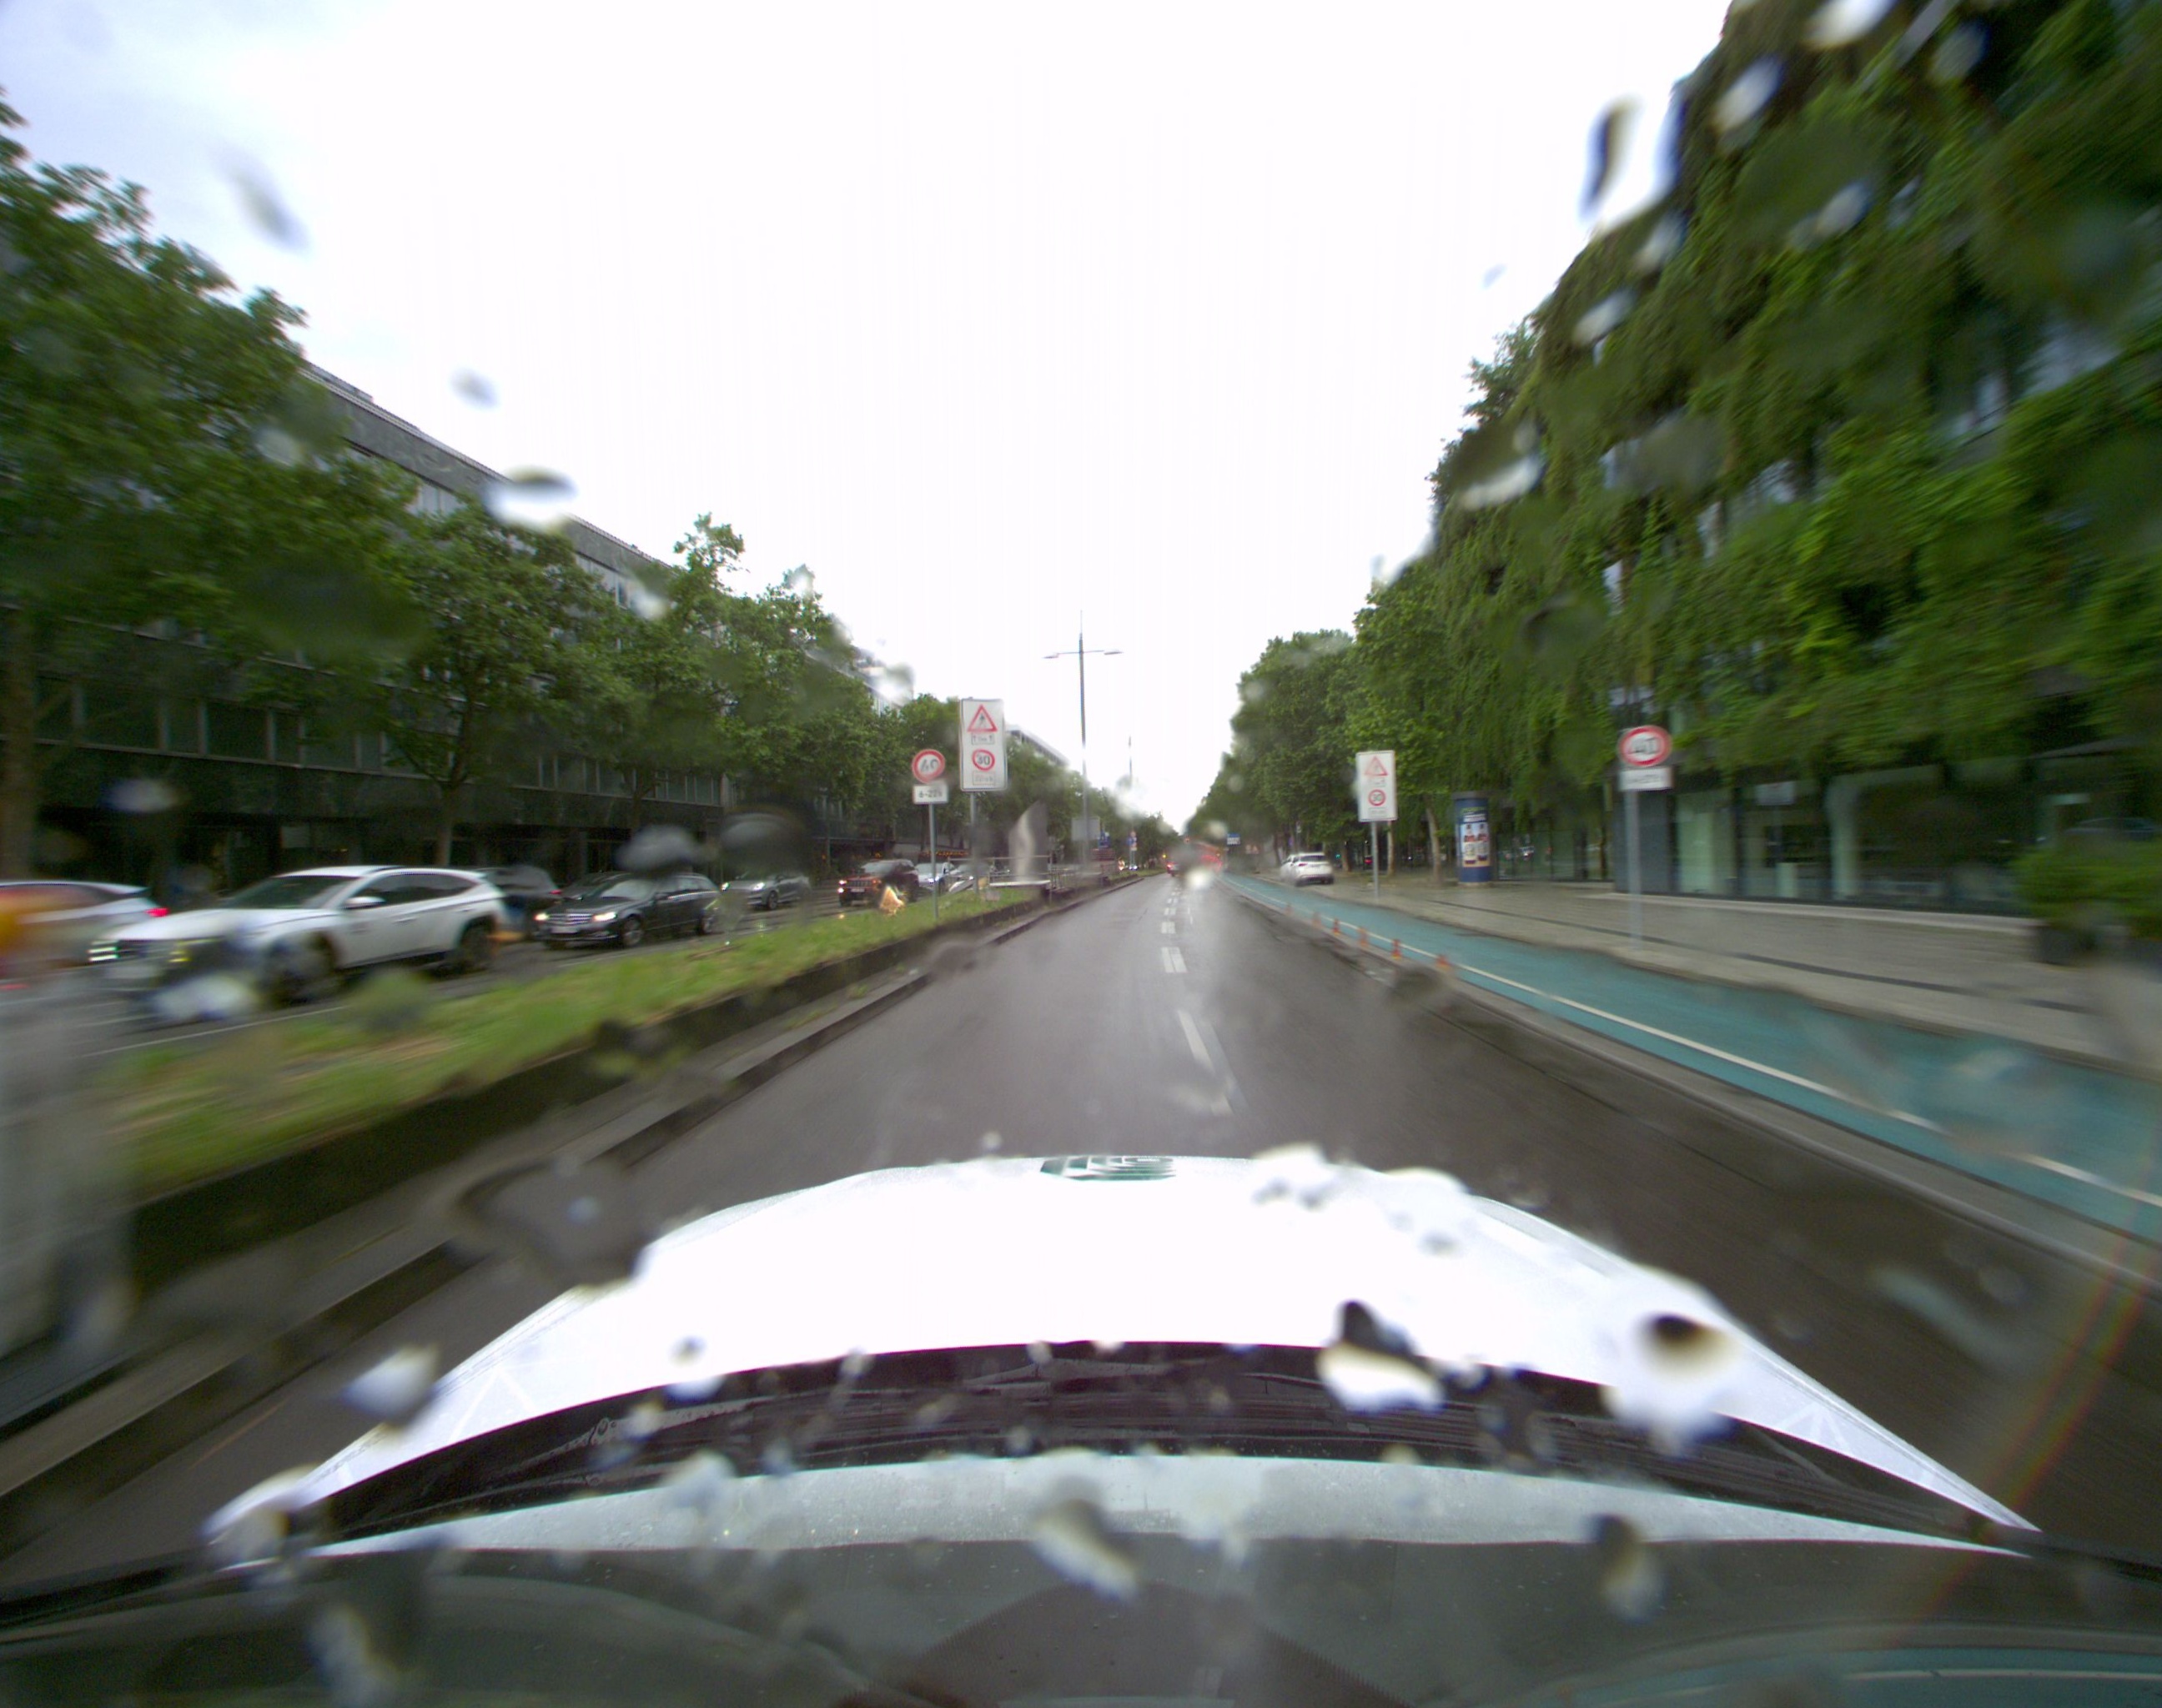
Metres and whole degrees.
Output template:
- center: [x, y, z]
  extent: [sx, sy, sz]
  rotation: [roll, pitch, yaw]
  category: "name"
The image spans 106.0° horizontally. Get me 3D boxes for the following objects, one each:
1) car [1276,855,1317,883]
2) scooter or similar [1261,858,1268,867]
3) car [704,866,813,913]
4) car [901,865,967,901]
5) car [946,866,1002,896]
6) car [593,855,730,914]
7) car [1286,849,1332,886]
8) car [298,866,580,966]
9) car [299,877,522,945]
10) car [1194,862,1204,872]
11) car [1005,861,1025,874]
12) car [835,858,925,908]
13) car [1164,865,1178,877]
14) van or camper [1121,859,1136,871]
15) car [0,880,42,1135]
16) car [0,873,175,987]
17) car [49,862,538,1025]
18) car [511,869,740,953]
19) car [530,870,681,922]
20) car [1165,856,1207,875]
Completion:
- center: [13.435, 0.900, 50.914]
  extent: [1.833, 1.632, 4.796]
  rotation: [-1, 0, 7]
  category: "car"
- center: [25.124, 1.172, 111.701]
  extent: [0.377, 1.228, 1.085]
  rotation: [-2, -1, 43]
  category: "scooter or similar"
- center: [-11.636, 1.228, 29.766]
  extent: [1.710, 1.491, 4.577]
  rotation: [-1, 0, 6]
  category: "car"
- center: [-7.099, 1.366, 39.794]
  extent: [1.725, 1.573, 4.842]
  rotation: [-1, 0, 8]
  category: "car"
- center: [-6.062, 1.497, 46.781]
  extent: [1.902, 1.552, 4.553]
  rotation: [-1, 0, 9]
  category: "car"
- center: [-12.243, 0.854, 24.082]
  extent: [1.745, 1.565, 4.005]
  rotation: [-1, -1, 4]
  category: "car"
- center: [12.444, 0.703, 44.741]
  extent: [1.832, 1.838, 5.107]
  rotation: [-3, 0, 9]
  category: "car"
- center: [-12.649, 1.122, 16.502]
  extent: [1.833, 1.665, 4.421]
  rotation: [-1, 0, 7]
  category: "car"
- center: [-16.110, 1.318, 19.878]
  extent: [1.985, 1.387, 3.981]
  rotation: [-1, -1, 3]
  category: "car"
- center: [20.053, 2.173, 138.554]
  extent: [1.612, 1.666, 4.008]
  rotation: [-2, -1, 7]
  category: "car"
- center: [-7.936, 1.615, 97.778]
  extent: [1.684, 1.468, 3.467]
  rotation: [-1, 0, 7]
  category: "car"
- center: [-7.845, 1.077, 32.338]
  extent: [1.826, 1.766, 5.117]
  rotation: [-1, 0, 6]
  category: "car"
- center: [11.282, 2.115, 102.224]
  extent: [1.612, 1.471, 4.007]
  rotation: [-1, 0, 6]
  category: "car"
- center: [7.914, 1.823, 134.866]
  extent: [1.983, 1.913, 5.262]
  rotation: [-1, 0, 7]
  category: "van or camper"
- center: [-7.120, 0.913, 2.811]
  extent: [1.840, 1.482, 4.158]
  rotation: [-1, 0, -4]
  category: "car"
- center: [-16.507, 1.122, 11.565]
  extent: [1.985, 1.604, 4.592]
  rotation: [-1, -1, 4]
  category: "car"
- center: [-10.199, 1.006, 11.272]
  extent: [1.868, 1.685, 4.804]
  rotation: [-1, 0, 4]
  category: "car"
- center: [-9.585, 1.122, 17.745]
  extent: [1.834, 1.451, 4.924]
  rotation: [-1, 0, 5]
  category: "car"
- center: [-15.308, 1.306, 26.561]
  extent: [1.881, 1.446, 4.594]
  rotation: [-1, 0, 5]
  category: "car"
- center: [10.054, 1.053, 77.739]
  extent: [1.974, 1.655, 4.920]
  rotation: [-2, 0, 34]
  category: "car"
